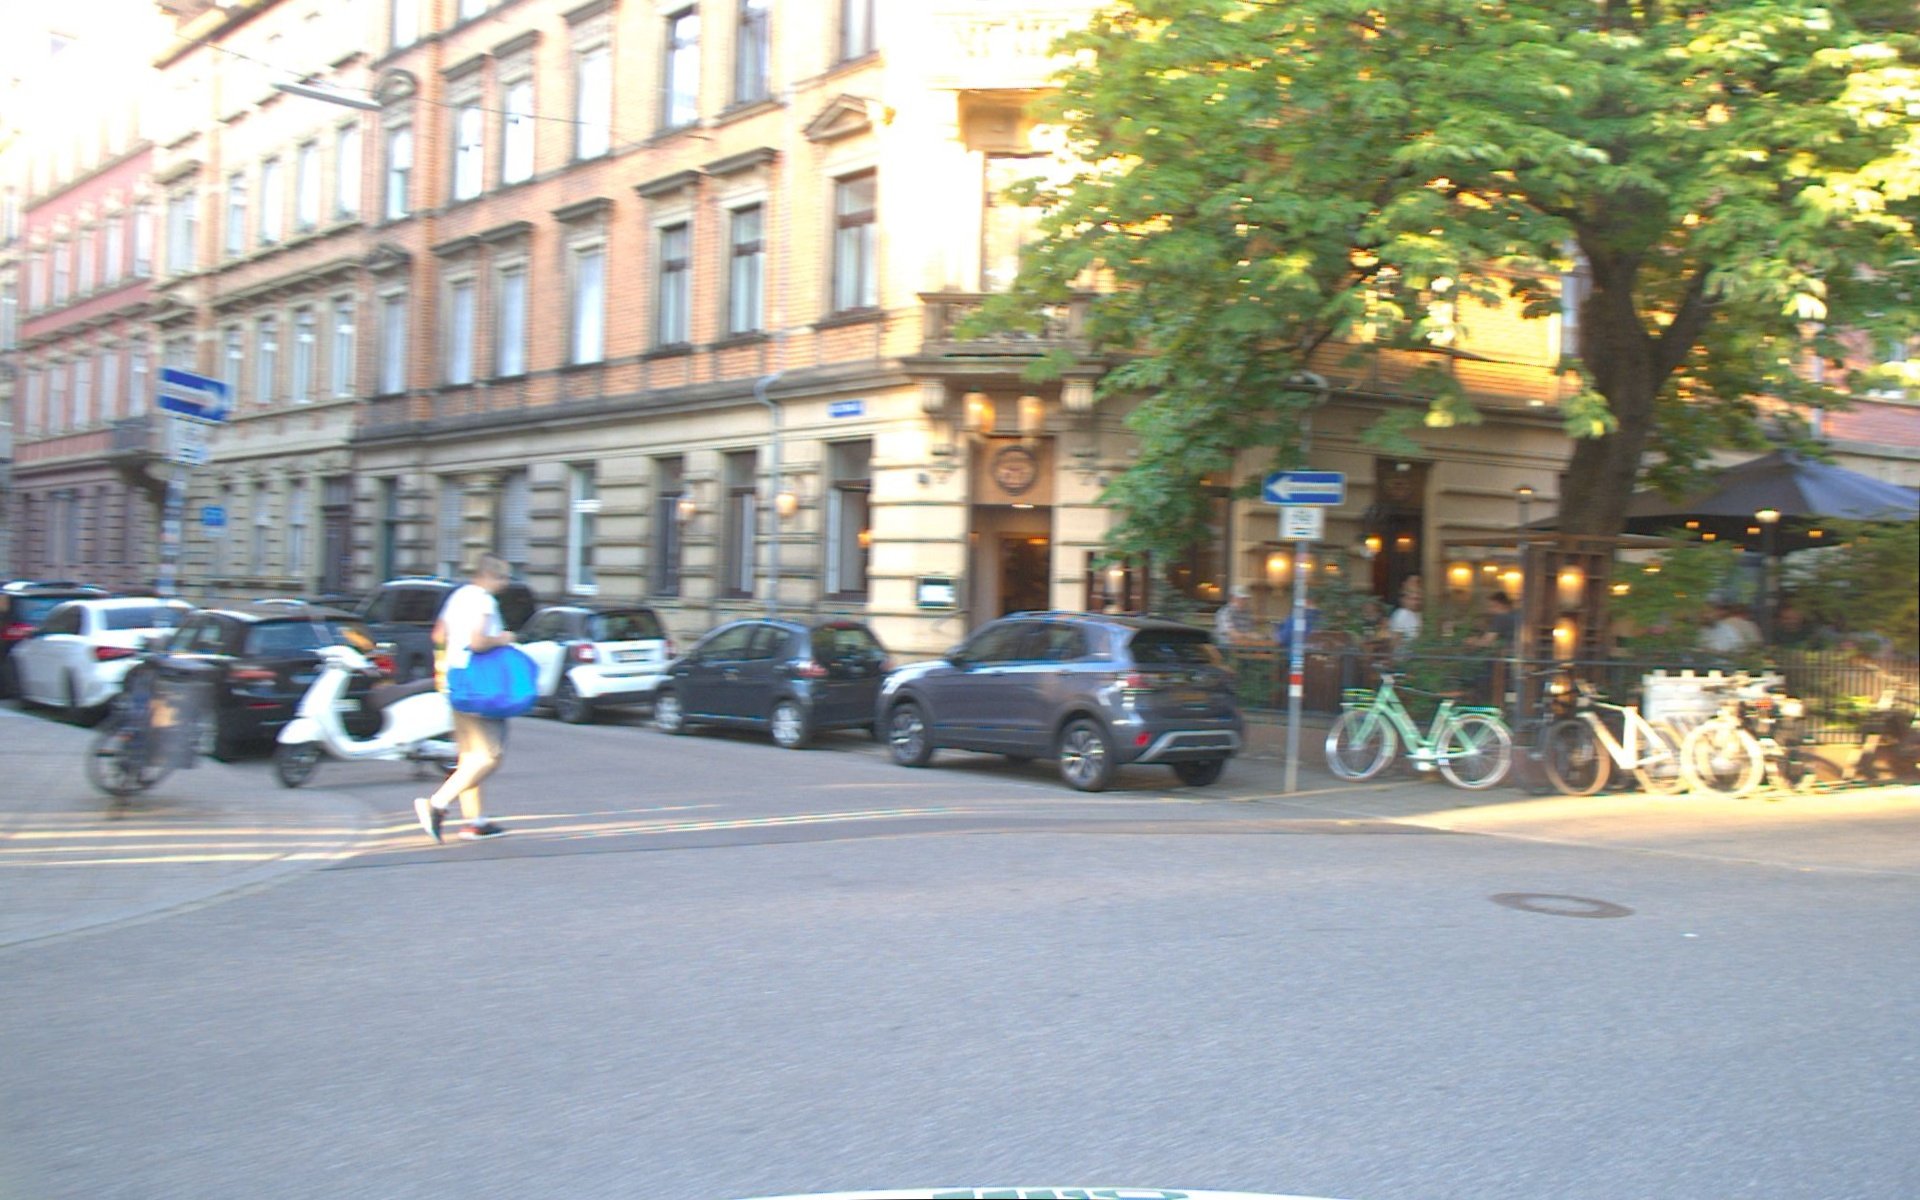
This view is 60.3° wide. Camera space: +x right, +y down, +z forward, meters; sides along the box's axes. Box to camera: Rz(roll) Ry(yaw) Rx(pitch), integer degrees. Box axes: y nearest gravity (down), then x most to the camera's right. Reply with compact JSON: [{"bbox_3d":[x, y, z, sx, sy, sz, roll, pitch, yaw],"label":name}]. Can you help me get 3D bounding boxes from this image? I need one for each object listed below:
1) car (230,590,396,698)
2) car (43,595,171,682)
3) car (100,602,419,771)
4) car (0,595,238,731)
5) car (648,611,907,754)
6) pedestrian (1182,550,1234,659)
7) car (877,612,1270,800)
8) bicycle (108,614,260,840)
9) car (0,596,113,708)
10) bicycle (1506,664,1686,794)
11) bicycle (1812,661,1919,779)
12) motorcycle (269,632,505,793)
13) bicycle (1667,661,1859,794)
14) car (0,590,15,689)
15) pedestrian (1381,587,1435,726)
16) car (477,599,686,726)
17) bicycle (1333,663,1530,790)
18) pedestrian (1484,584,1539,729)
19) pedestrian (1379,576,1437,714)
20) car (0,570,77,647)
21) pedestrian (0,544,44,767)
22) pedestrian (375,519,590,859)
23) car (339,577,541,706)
[{"bbox_3d":[-11.859,0.758,30.230,1.675,1.855,3.433,1,0,-43],"label":"car"},{"bbox_3d":[-19.160,0.825,37.102,1.675,1.855,3.433,1,0,-43],"label":"car"},{"bbox_3d":[-7.220,0.778,16.848,1.773,1.484,3.955,1,0,-43],"label":"car"},{"bbox_3d":[-10.493,0.696,20.410,1.566,1.484,4.355,1,0,-43],"label":"car"},{"bbox_3d":[-2.257,0.923,19.975,1.455,1.484,3.282,1,1,-43],"label":"car"},{"bbox_3d":[3.343,0.060,22.317,0.459,1.437,0.517,1,0,-37],"label":"pedestrian"},{"bbox_3d":[1.003,0.922,16.135,1.619,1.572,3.799,1,0,-42],"label":"car"},{"bbox_3d":[-5.385,0.832,11.571,0.507,1.416,1.795,3,-1,-12],"label":"bicycle"},{"bbox_3d":[-13.772,0.681,23.956,1.566,1.484,4.355,1,0,-43],"label":"car"},{"bbox_3d":[5.953,1.202,15.465,1.714,1.164,0.390,2,0,-20],"label":"bicycle"},{"bbox_3d":[9.979,1.277,17.459,1.917,1.163,0.391,2,2,-14],"label":"bicycle"},{"bbox_3d":[-4.805,0.916,13.906,1.832,1.279,0.468,1,0,-26],"label":"motorcycle"},{"bbox_3d":[7.746,1.229,15.941,1.921,1.206,0.390,2,2,-20],"label":"bicycle"},{"bbox_3d":[-17.428,0.631,28.040,1.566,1.599,4.055,1,0,-43],"label":"car"},{"bbox_3d":[4.816,0.596,17.776,0.421,1.476,0.462,0,0,35],"label":"pedestrian"},{"bbox_3d":[-5.300,0.810,22.966,1.454,1.622,3.283,1,0,-41],"label":"car"},{"bbox_3d":[4.546,1.201,15.998,1.788,1.117,0.392,0,0,29],"label":"bicycle"},{"bbox_3d":[5.731,0.578,17.174,0.421,1.476,0.462,0,0,35],"label":"pedestrian"},{"bbox_3d":[5.130,0.502,18.924,0.514,1.546,0.462,0,0,36],"label":"pedestrian"},{"bbox_3d":[-23.844,0.200,41.992,1.675,1.855,3.433,1,0,-43],"label":"car"},{"bbox_3d":[-8.373,0.439,14.149,0.675,1.855,0.788,5,-1,-21],"label":"pedestrian"},{"bbox_3d":[-3.063,0.546,10.614,1.001,2.049,0.855,2,-2,-43],"label":"pedestrian"},{"bbox_3d":[-8.107,0.589,25.647,1.675,1.855,3.433,1,0,-43],"label":"car"}]
